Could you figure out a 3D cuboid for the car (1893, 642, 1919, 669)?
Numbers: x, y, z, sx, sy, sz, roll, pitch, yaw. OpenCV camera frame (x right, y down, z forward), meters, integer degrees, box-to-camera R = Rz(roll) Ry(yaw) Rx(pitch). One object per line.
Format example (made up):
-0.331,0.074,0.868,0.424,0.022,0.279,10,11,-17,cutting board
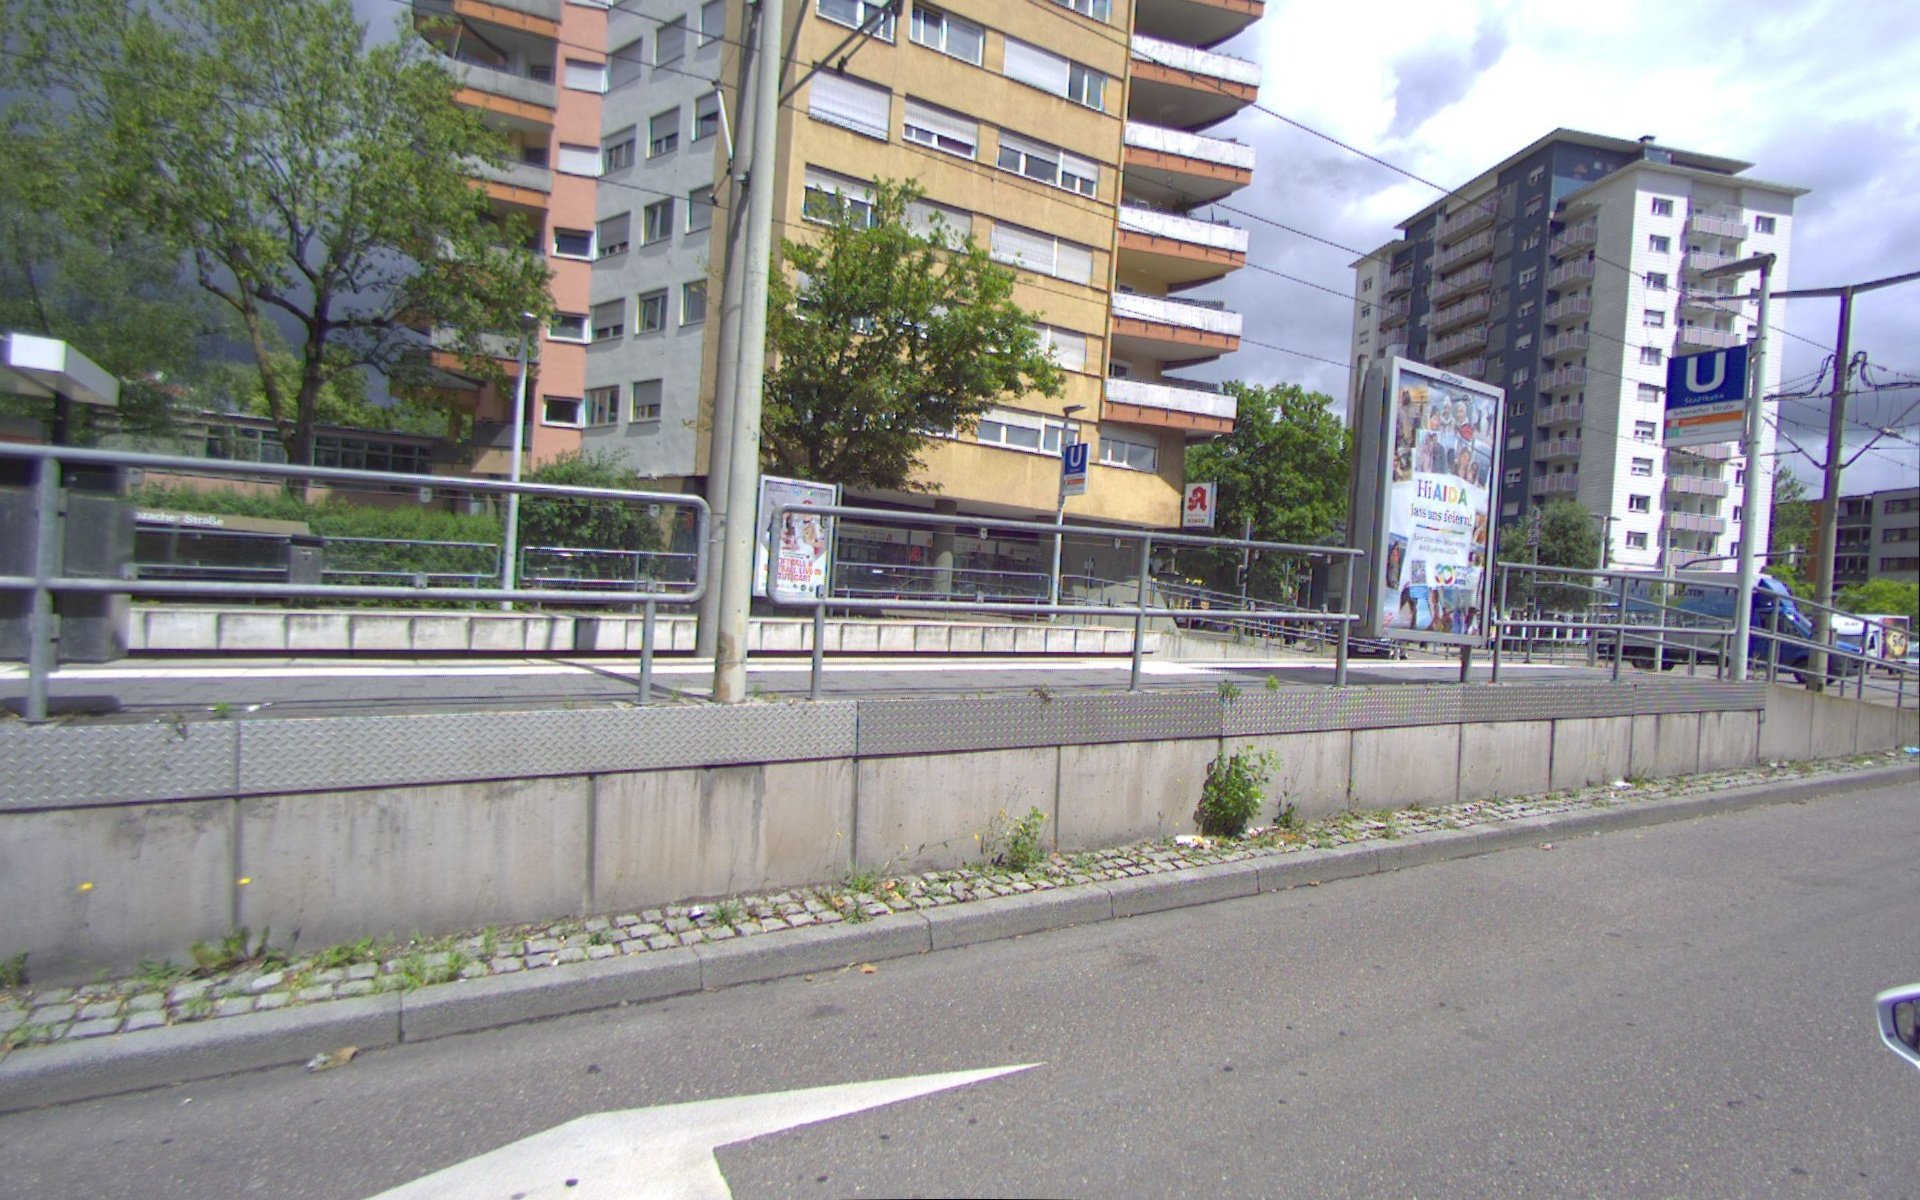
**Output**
57.351,3.312,60.025,3.733,1.480,1.399,2,0,-32,car

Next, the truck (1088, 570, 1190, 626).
7.982,-0.111,45.240,2.323,2.320,4.260,2,0,-29,truck

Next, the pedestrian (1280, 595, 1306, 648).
11.496,0.739,34.682,0.649,1.799,0.658,1,0,-1,pedestrian

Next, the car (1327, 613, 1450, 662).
13.405,1.181,31.388,3.820,1.424,1.571,2,0,-30,car

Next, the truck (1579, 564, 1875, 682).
24.632,0.653,32.655,2.585,3.393,7.213,2,0,-38,truck

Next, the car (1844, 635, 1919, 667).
63.790,3.487,69.283,3.846,2.001,1.657,2,0,18,car

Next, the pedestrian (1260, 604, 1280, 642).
11.996,0.888,38.861,0.541,1.459,0.497,2,0,-19,pedestrian

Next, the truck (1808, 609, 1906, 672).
48.808,2.214,54.589,7.244,3.159,2.267,2,0,-34,truck

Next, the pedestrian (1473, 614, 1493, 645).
35.976,2.027,69.070,0.831,2.040,0.861,2,0,-2,pedestrian
